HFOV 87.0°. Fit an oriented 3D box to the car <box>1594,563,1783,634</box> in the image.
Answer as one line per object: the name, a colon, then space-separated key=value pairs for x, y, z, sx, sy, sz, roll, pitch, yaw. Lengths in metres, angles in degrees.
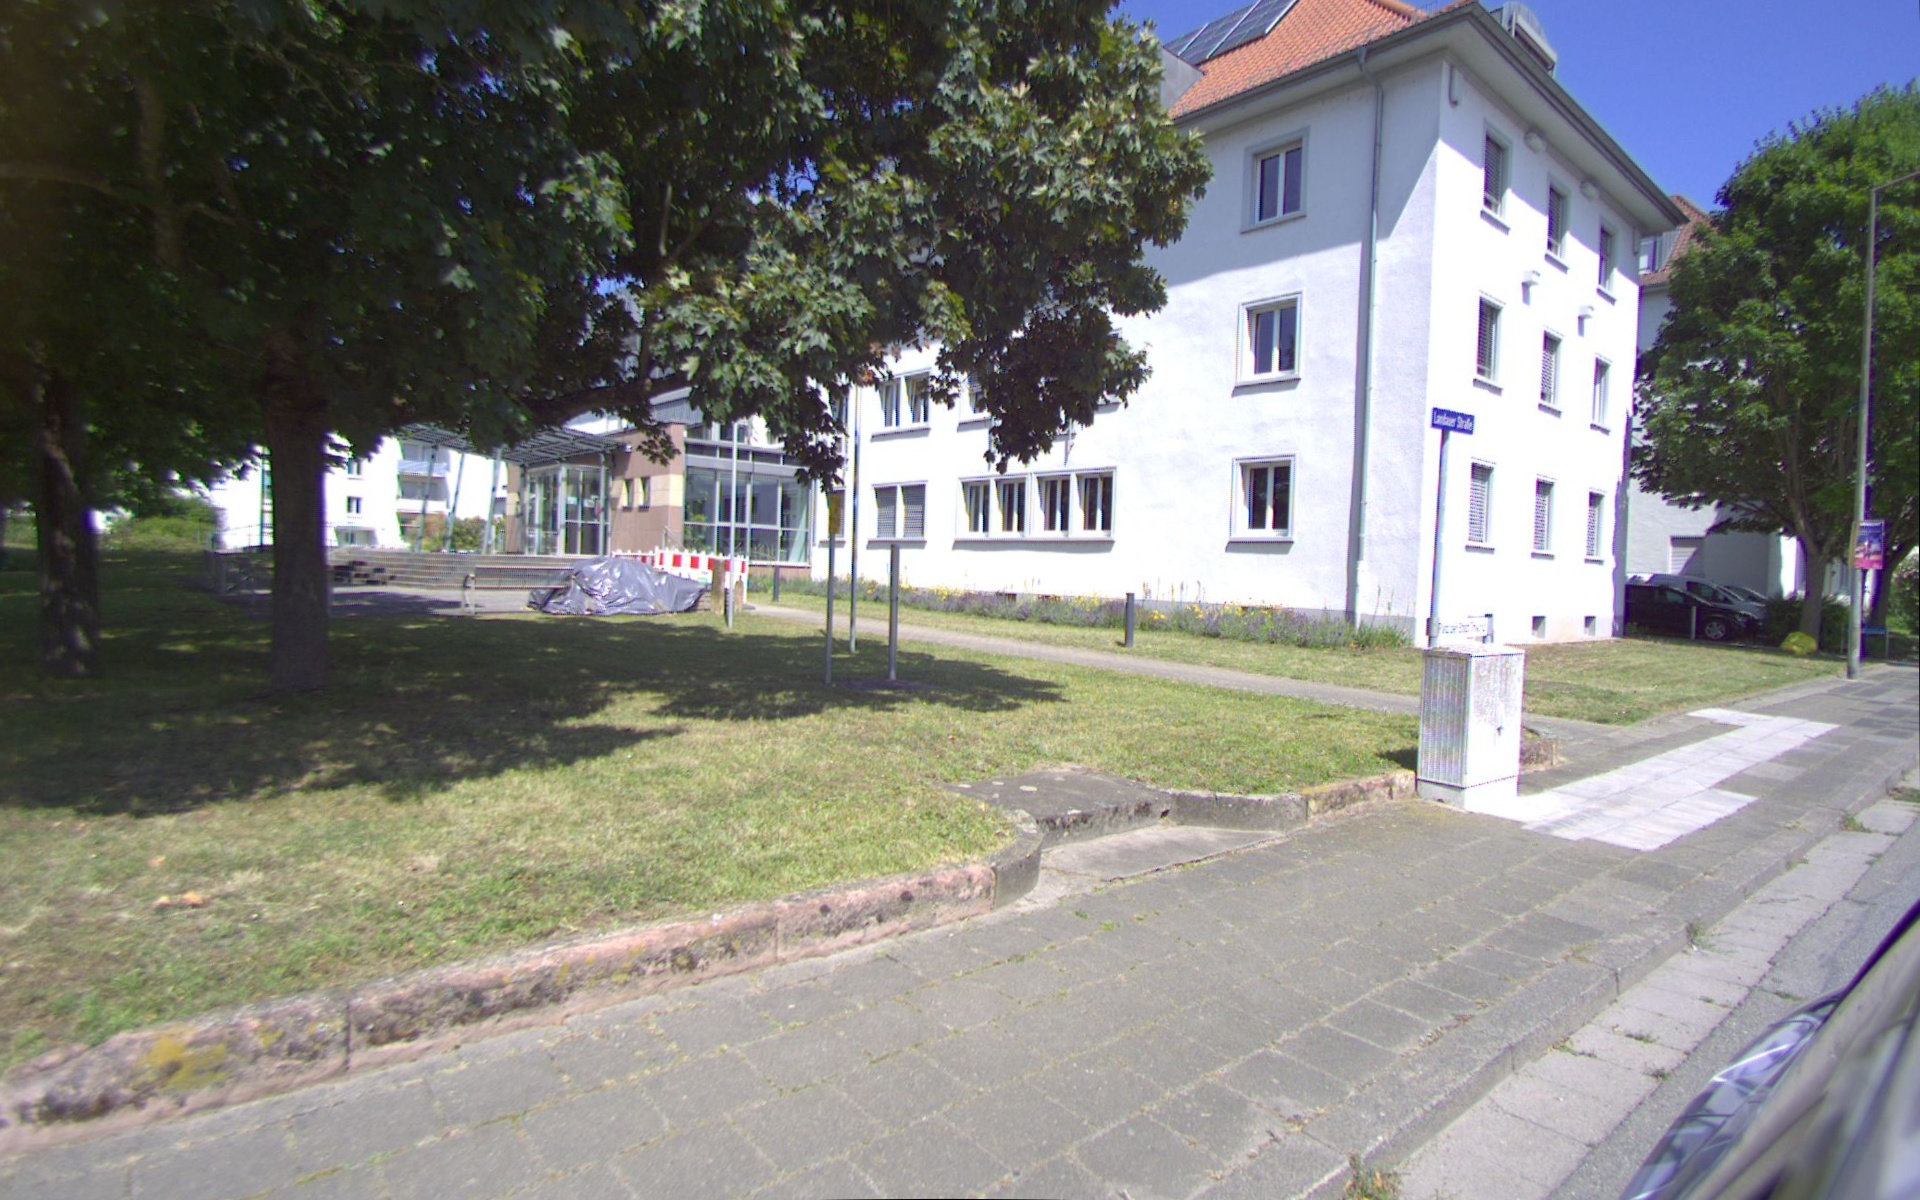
car: x=22.463 y=-0.102 z=31.338 sx=1.966 sy=1.808 sz=4.363 roll=0 pitch=4 yaw=-43

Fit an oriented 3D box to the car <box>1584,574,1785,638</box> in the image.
car: x=20.807 y=0.126 z=29.197 sx=1.966 sy=1.452 sz=4.363 roll=0 pitch=4 yaw=-43

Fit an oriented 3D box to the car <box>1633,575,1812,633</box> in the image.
car: x=25.108 y=0.080 z=33.435 sx=1.966 sy=1.544 sz=4.363 roll=0 pitch=4 yaw=-43
